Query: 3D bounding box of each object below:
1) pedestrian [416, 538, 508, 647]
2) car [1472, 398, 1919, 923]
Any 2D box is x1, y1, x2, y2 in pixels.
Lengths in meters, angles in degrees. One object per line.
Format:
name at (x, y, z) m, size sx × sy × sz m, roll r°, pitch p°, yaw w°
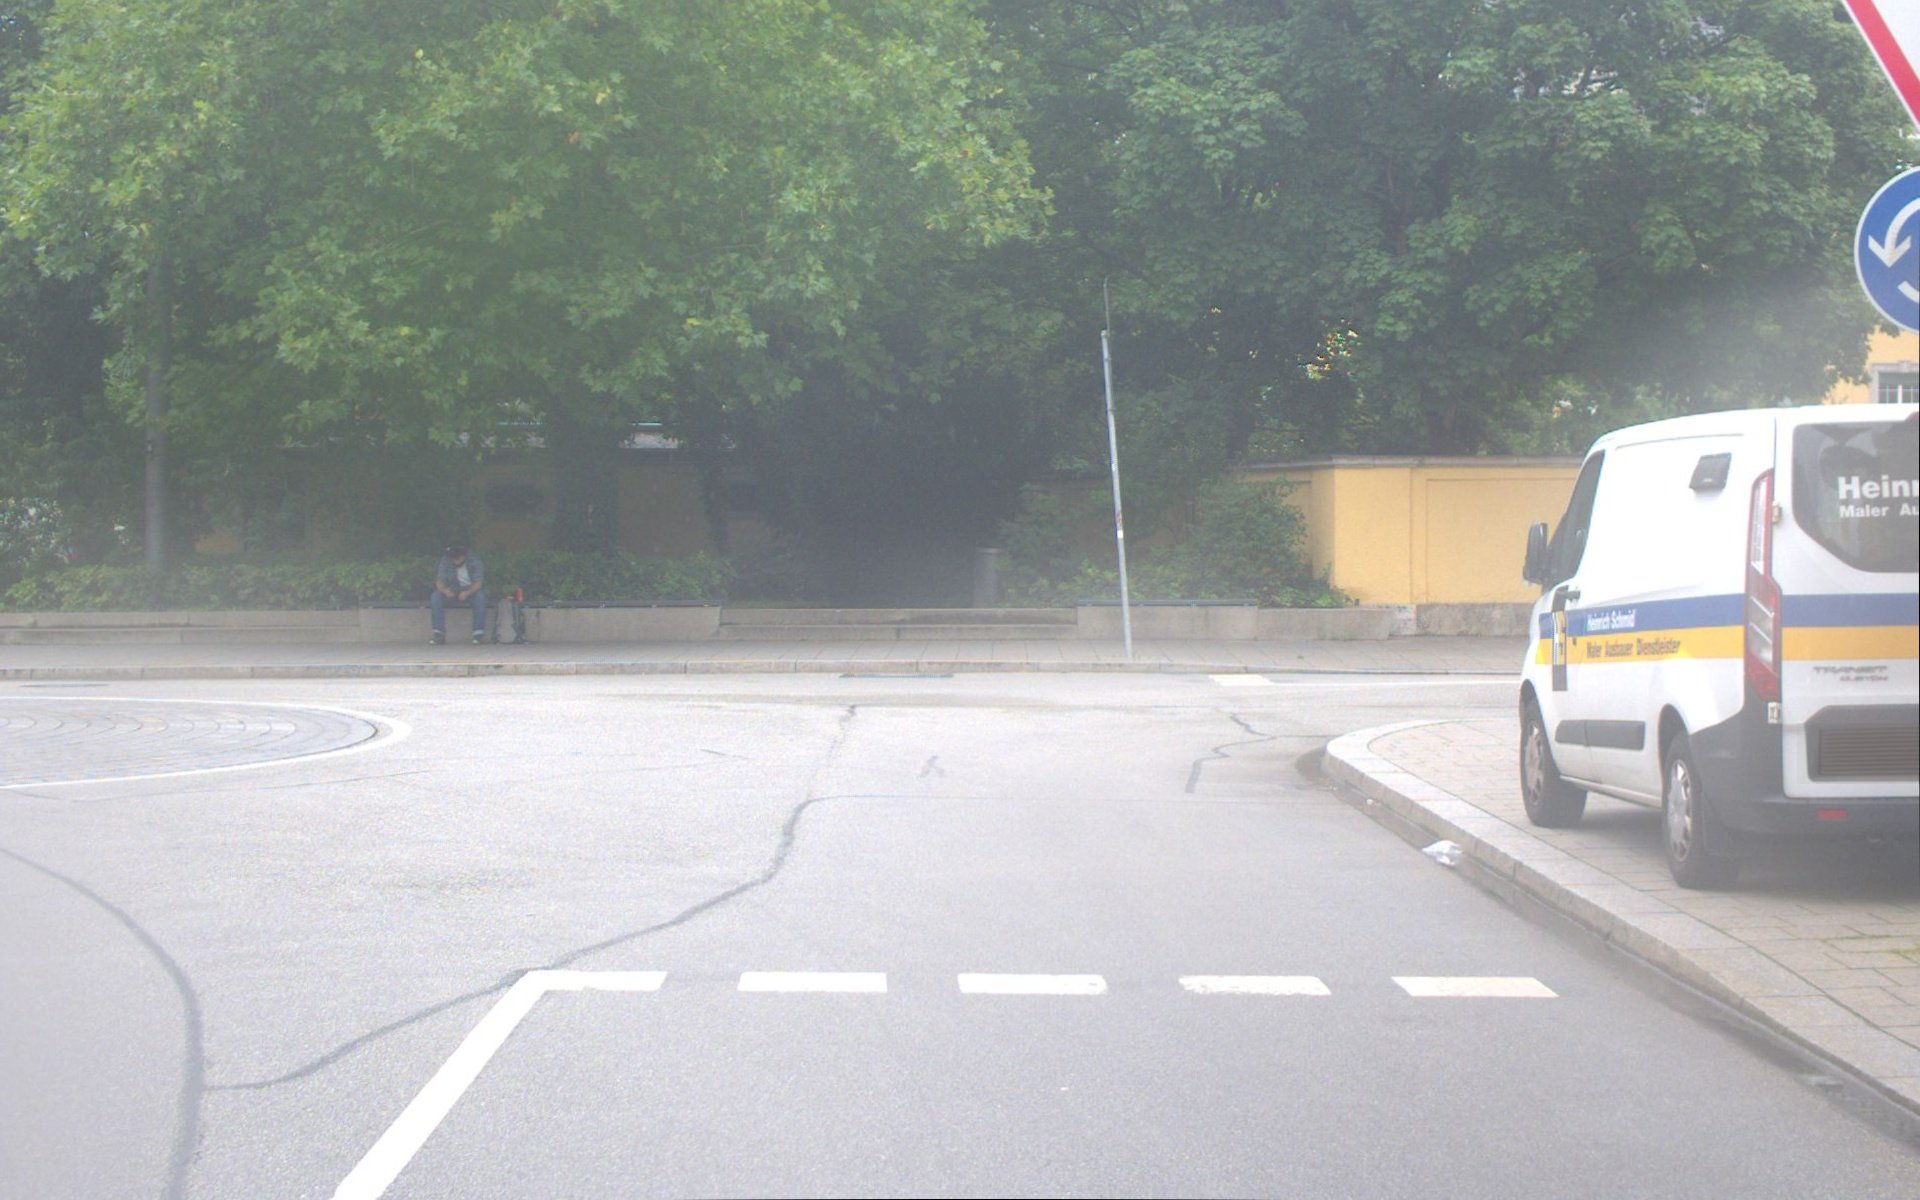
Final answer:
pedestrian at (-5.521, -0.092, 38.157) m, size 0.812 × 1.185 × 0.919 m, roll 0°, pitch 1°, yaw 5°
car at (3.730, 0.153, 15.391) m, size 1.915 × 1.955 × 4.928 m, roll -1°, pitch 1°, yaw -2°
